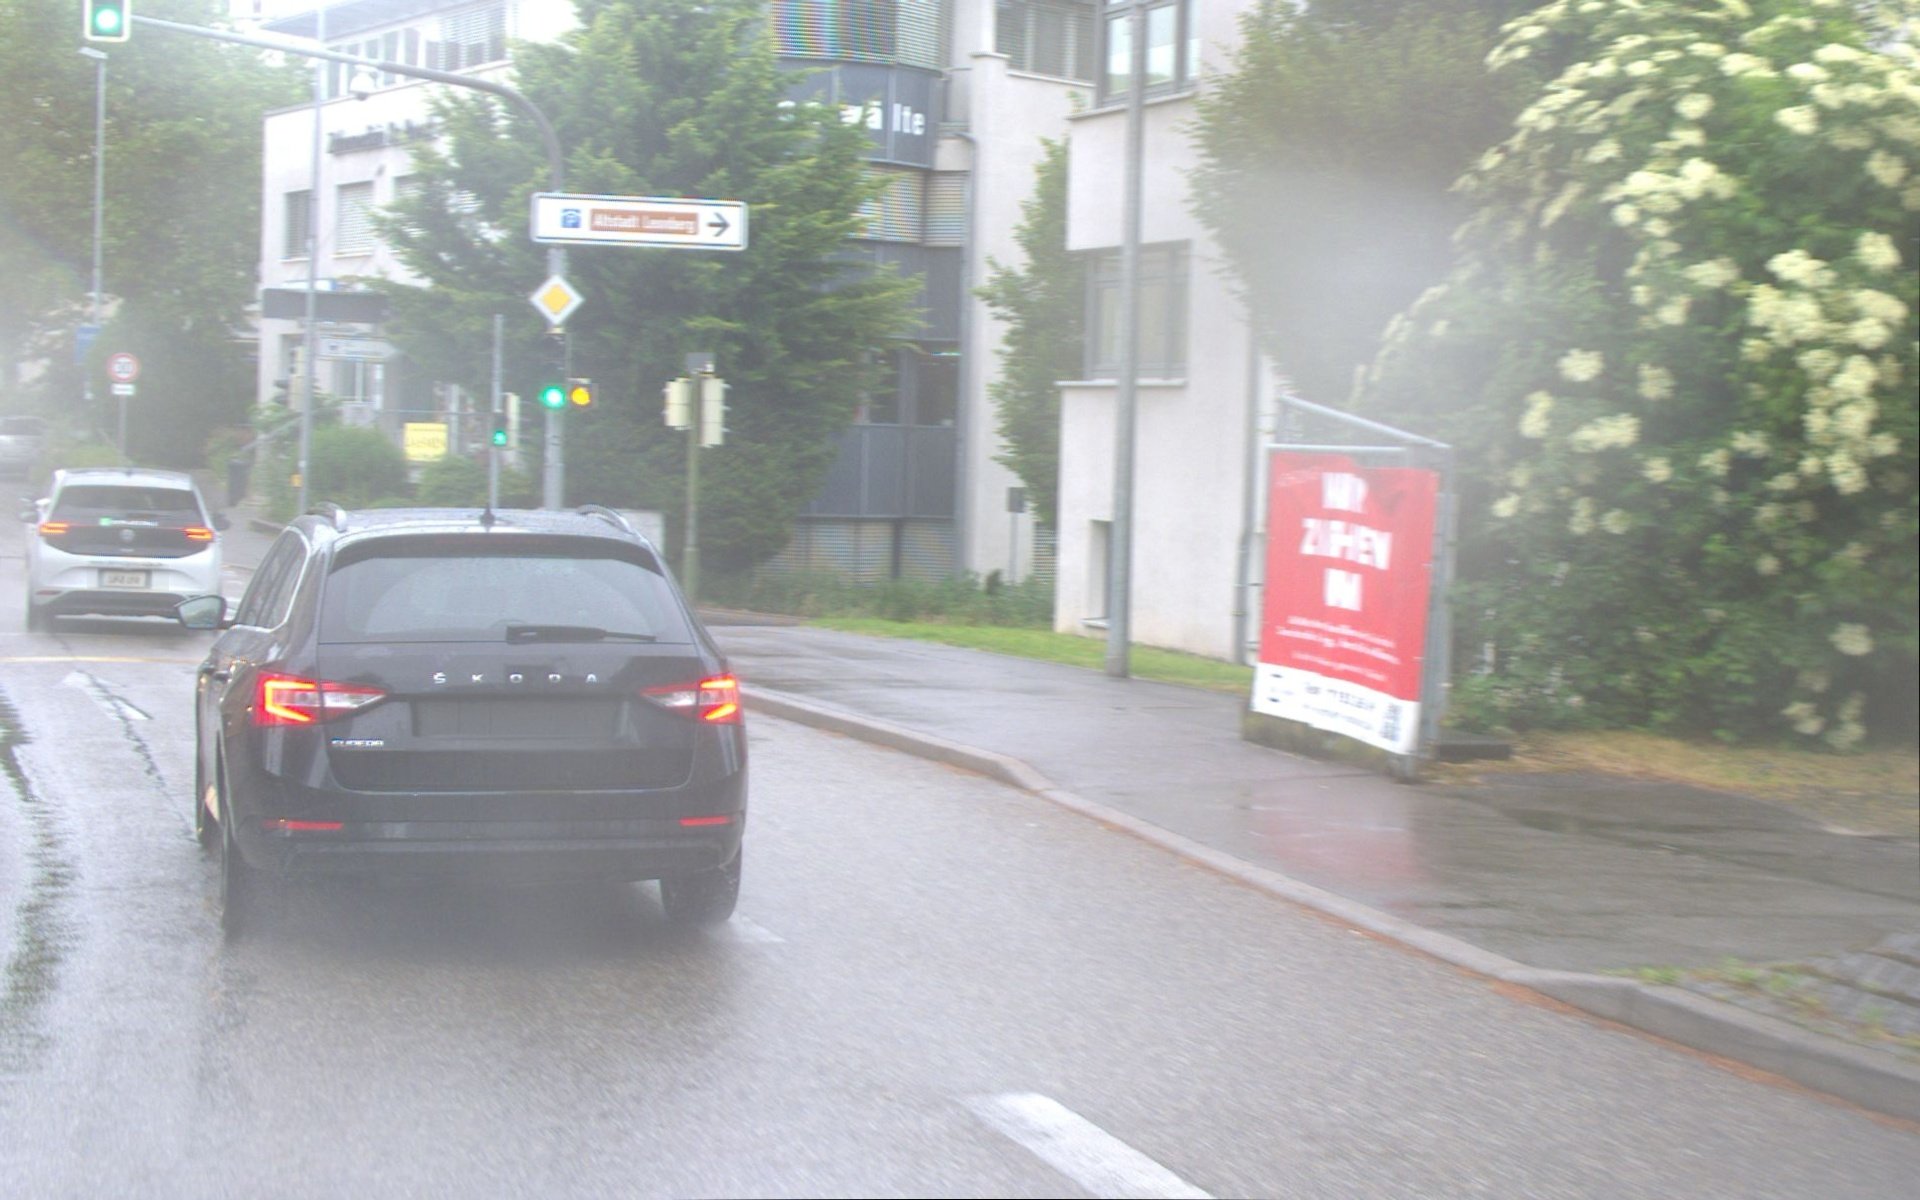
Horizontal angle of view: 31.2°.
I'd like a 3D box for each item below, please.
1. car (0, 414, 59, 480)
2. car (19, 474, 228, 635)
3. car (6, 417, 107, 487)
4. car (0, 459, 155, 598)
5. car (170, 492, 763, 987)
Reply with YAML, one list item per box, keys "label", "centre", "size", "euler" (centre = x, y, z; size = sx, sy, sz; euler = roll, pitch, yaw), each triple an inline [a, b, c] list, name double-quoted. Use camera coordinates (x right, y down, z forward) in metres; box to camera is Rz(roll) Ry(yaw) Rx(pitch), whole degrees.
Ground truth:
- label: "car"
  centre: [-24.697, -3.998, 89.459]
  size: [1.852, 1.635, 3.873]
  euler: [0, 3, -24]
- label: "car"
  centre: [-8.136, -0.479, 33.243]
  size: [1.817, 1.355, 3.991]
  euler: [1, 3, -15]
- label: "car"
  centre: [-22.054, -3.618, 83.809]
  size: [1.852, 1.635, 3.540]
  euler: [0, 3, -24]
- label: "car"
  centre: [-12.143, -1.009, 47.163]
  size: [1.727, 1.584, 4.186]
  euler: [2, 4, -18]
- label: "car"
  centre: [-2.041, 0.372, 13.140]
  size: [1.781, 1.478, 4.248]
  euler: [-1, 3, -14]
